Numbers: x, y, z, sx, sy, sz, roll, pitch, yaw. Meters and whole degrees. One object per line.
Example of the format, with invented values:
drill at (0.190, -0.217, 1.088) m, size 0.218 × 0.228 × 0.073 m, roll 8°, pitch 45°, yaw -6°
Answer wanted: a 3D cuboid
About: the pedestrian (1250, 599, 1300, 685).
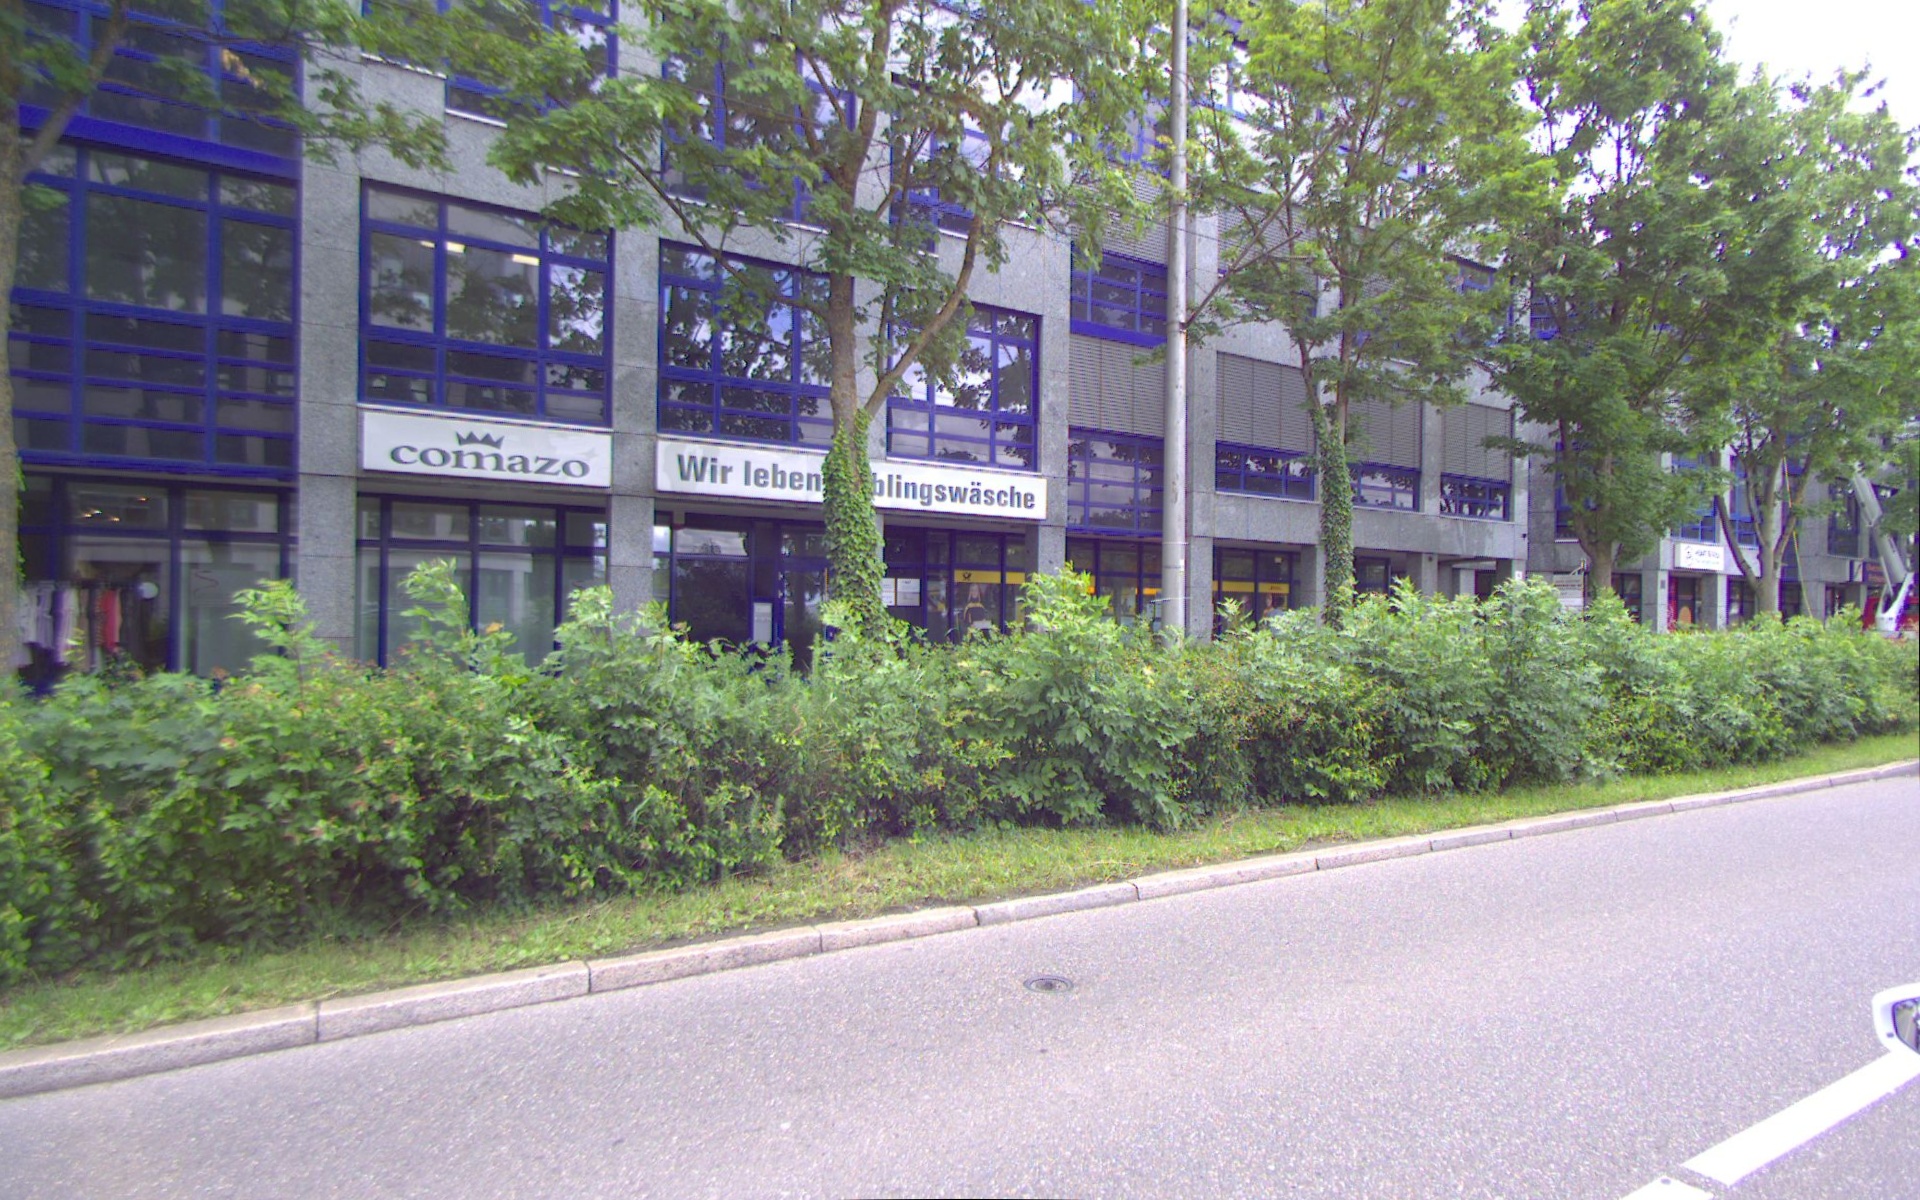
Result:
pedestrian at (7.150, 0.940, 22.815) m, size 0.723 × 1.919 × 0.771 m, roll 2°, pitch 0°, yaw -30°
